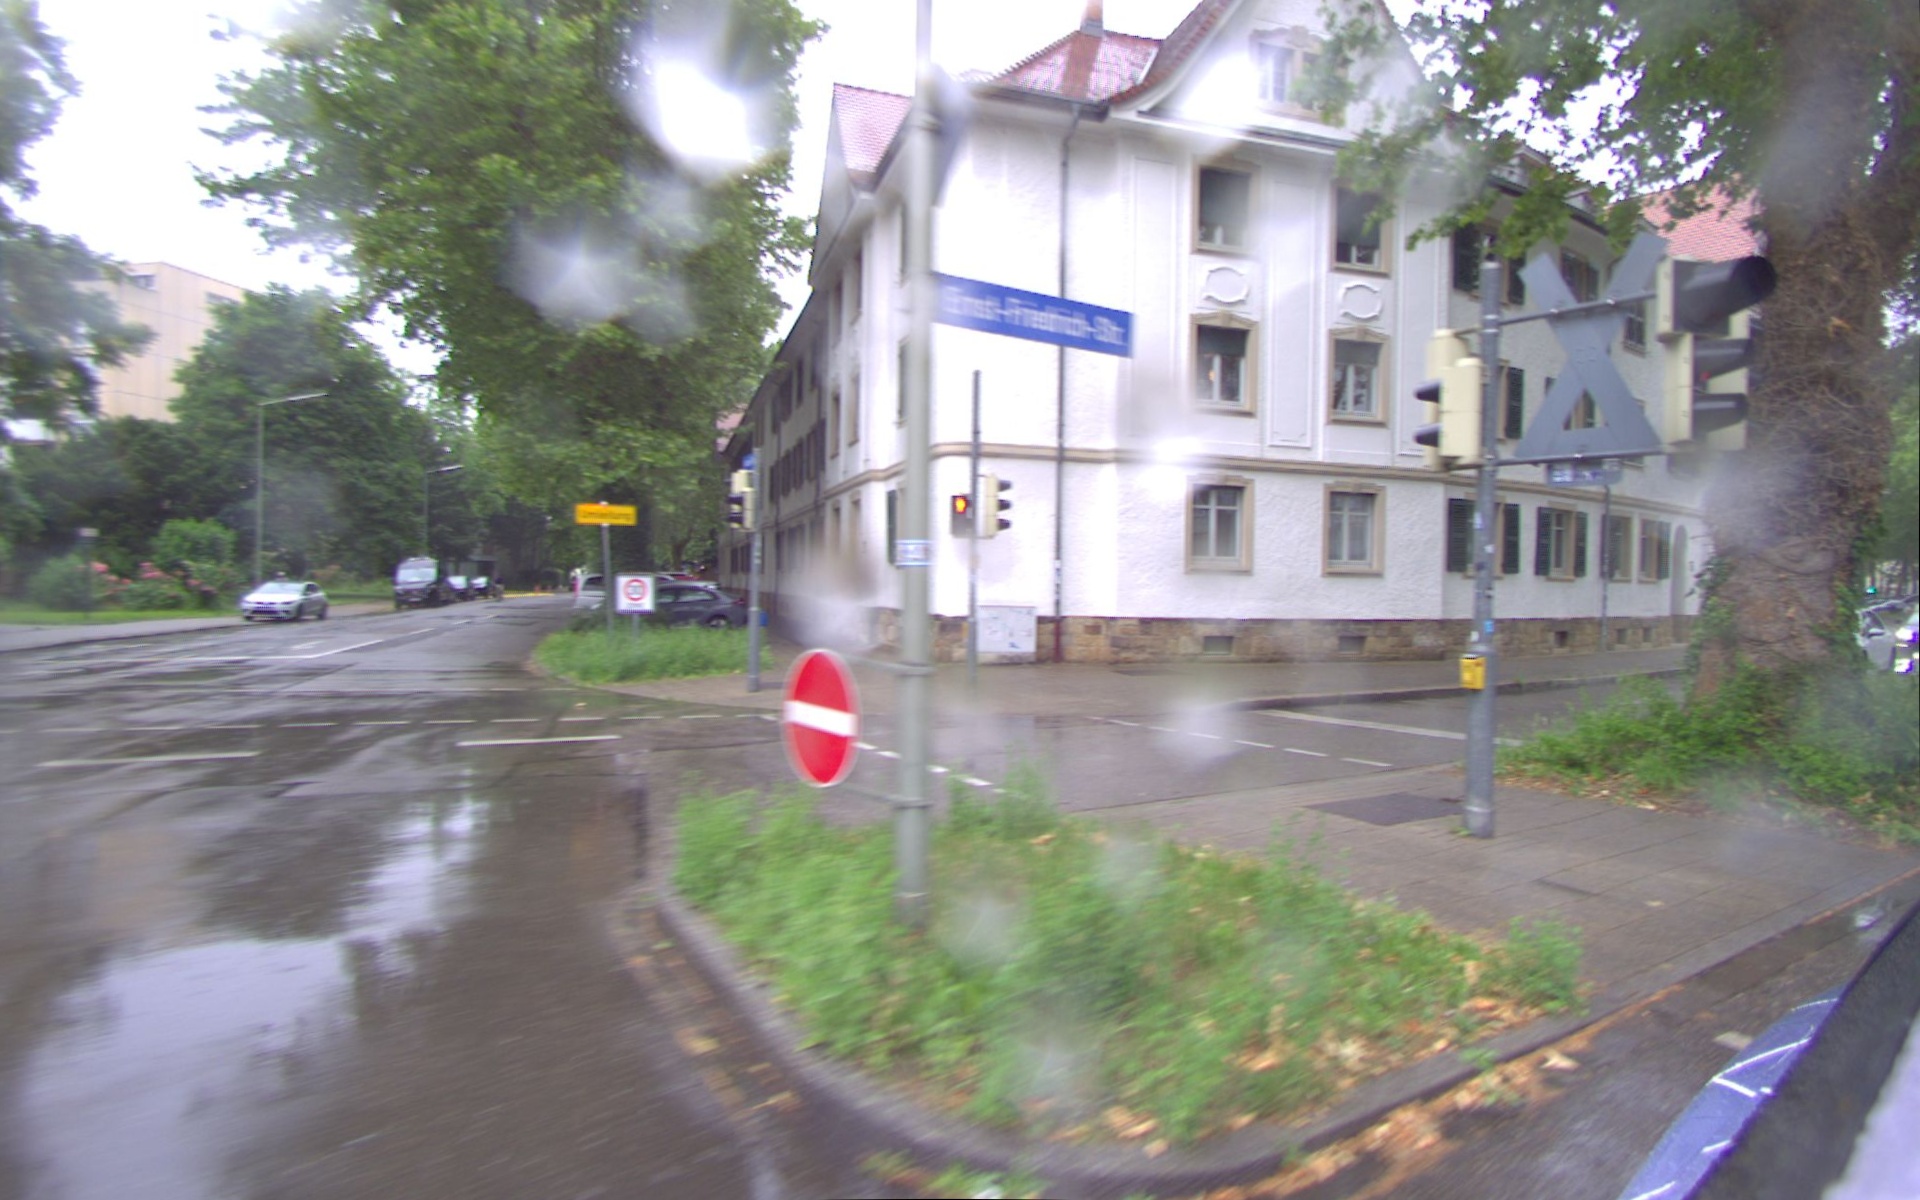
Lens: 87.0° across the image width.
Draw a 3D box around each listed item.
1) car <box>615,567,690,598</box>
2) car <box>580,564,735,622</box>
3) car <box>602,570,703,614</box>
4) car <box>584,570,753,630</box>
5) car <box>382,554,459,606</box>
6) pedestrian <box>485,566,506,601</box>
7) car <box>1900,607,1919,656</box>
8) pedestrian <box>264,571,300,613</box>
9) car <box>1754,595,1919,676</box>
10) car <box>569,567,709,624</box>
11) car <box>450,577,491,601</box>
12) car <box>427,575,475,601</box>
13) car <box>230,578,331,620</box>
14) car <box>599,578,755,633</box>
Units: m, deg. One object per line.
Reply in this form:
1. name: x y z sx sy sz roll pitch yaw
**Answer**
1. car: -21.899 -1.258 72.197 4.982 2.049 2.038 1 0 -16
2. car: -9.620 -0.223 32.381 4.573 1.712 2.038 1 0 -16
3. car: -14.256 -0.381 46.965 4.349 1.923 2.038 1 0 -18
4. car: -8.625 0.003 29.990 4.640 1.643 1.934 1 0 -19
5. car: -28.064 -1.019 52.893 2.352 2.506 5.704 1 1 -16
6. pedestrian: -28.196 -1.014 61.435 0.924 2.088 1.083 1 0 -13
7. car: 29.843 0.915 30.363 3.599 1.439 1.926 0 -2 -40
8. pedestrian: -27.728 -0.343 41.386 0.924 1.681 0.930 1 0 -13
9. car: 17.683 0.665 20.323 4.319 1.451 1.780 0 -2 -39
10. car: -11.336 -0.152 35.943 4.573 1.897 2.038 1 0 -16
11. car: -33.286 -0.763 68.945 1.958 1.558 4.009 0 1 -17
12. car: -31.149 -0.753 62.017 1.958 1.558 4.009 0 1 -17
13. car: -24.831 -0.078 37.128 1.784 1.478 4.282 0 1 -15
14. car: -7.682 0.111 27.421 3.916 1.371 1.801 -1 1 -20
